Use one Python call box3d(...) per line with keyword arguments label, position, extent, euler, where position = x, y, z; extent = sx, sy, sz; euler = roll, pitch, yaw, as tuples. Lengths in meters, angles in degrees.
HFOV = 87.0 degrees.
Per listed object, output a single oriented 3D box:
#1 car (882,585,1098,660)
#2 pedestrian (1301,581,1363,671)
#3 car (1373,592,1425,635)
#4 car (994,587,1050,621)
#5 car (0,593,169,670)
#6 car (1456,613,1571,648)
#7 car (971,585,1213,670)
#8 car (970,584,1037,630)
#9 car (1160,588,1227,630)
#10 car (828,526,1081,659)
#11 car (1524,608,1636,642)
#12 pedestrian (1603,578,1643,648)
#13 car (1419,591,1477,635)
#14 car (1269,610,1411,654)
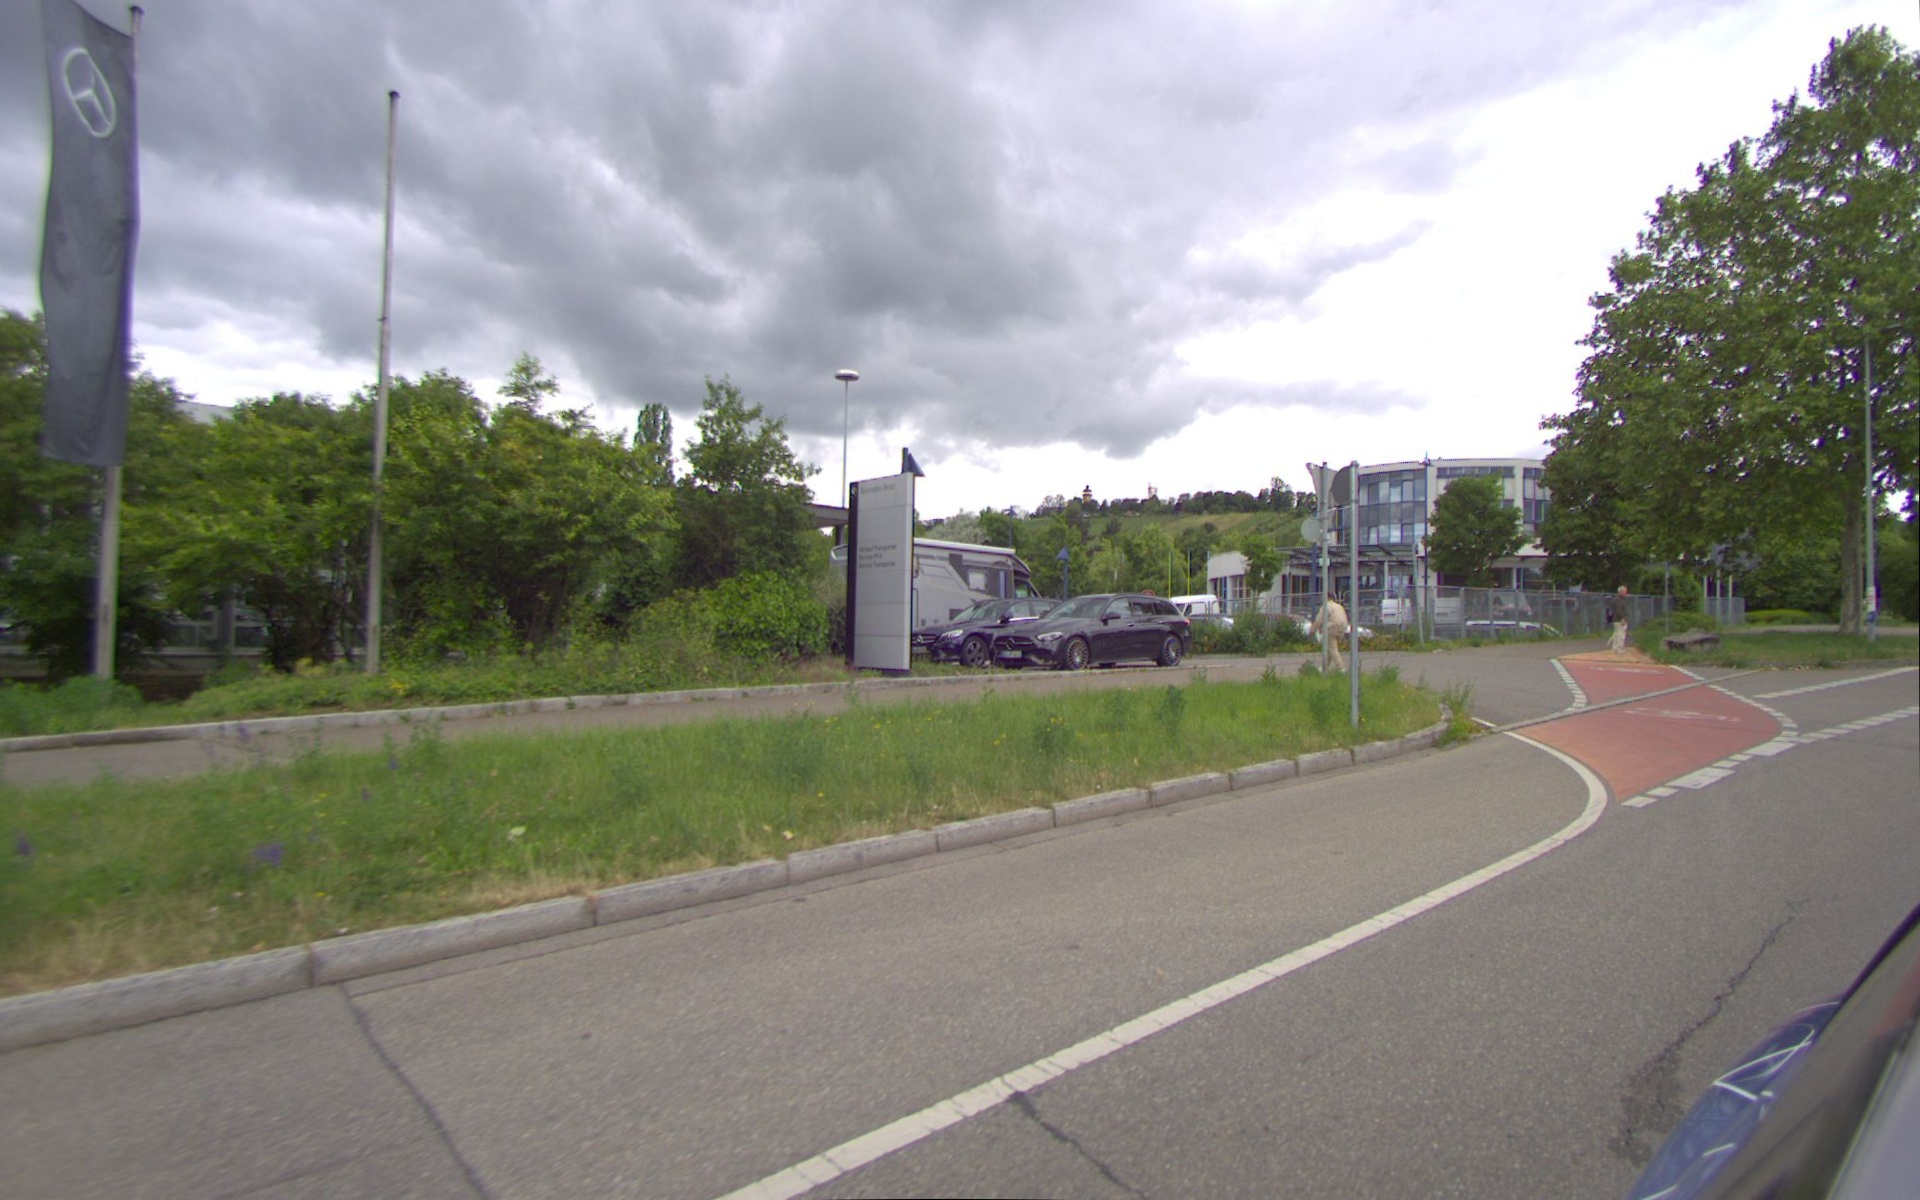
box3d(label="car", position=(0.710, 0.499, 21.418), extent=(4.535, 1.435, 1.848), euler=(1, -3, -42))
box3d(label="pedestrian", position=(6.864, 0.458, 18.717), extent=(0.797, 1.586, 0.943), euler=(0, 2, 3))
box3d(label="car", position=(24.815, 0.741, 57.393), extent=(2.086, 2.304, 4.461), euler=(1, -1, 16))
box3d(label="car", position=(5.312, 0.326, 86.166), extent=(4.402, 2.791, 2.219), euler=(1, -1, -39))
box3d(label="car", position=(-16.396, 0.558, 18.390), extent=(3.026, 1.313, 1.595), euler=(2, -2, -44))
box3d(label="car", position=(24.958, 1.405, 45.718), extent=(1.787, 1.467, 4.180), euler=(2, -4, -43))
box3d(label="car", position=(2.635, 0.489, 19.357), extent=(4.894, 1.435, 1.849), euler=(0, -2, -42))
box3d(label="car", position=(3.053, 0.478, 72.385), extent=(2.185, 3.240, 4.509), euler=(2, -1, -44))
box3d(label="car", position=(16.045, 0.624, 69.447), extent=(4.402, 2.791, 2.219), euler=(1, -1, -39))
box3d(label="car", position=(0.061, -0.013, 24.670), extent=(6.611, 2.855, 1.994), euler=(3, -4, -44))
box3d(label="car", position=(29.465, 1.209, 48.164), extent=(1.787, 1.467, 4.180), euler=(2, -4, -43))
box3d(label="pedestrian", position=(16.968, 0.318, 25.906), extent=(0.732, 1.748, 0.494), euler=(2, 2, 45))
box3d(label="car", position=(26.825, 0.704, 55.798), extent=(2.086, 2.304, 4.461), euler=(1, -1, 16))
box3d(label="car", position=(12.672, 1.105, 33.961), extent=(1.963, 1.335, 3.994), euler=(1, -4, -38))
